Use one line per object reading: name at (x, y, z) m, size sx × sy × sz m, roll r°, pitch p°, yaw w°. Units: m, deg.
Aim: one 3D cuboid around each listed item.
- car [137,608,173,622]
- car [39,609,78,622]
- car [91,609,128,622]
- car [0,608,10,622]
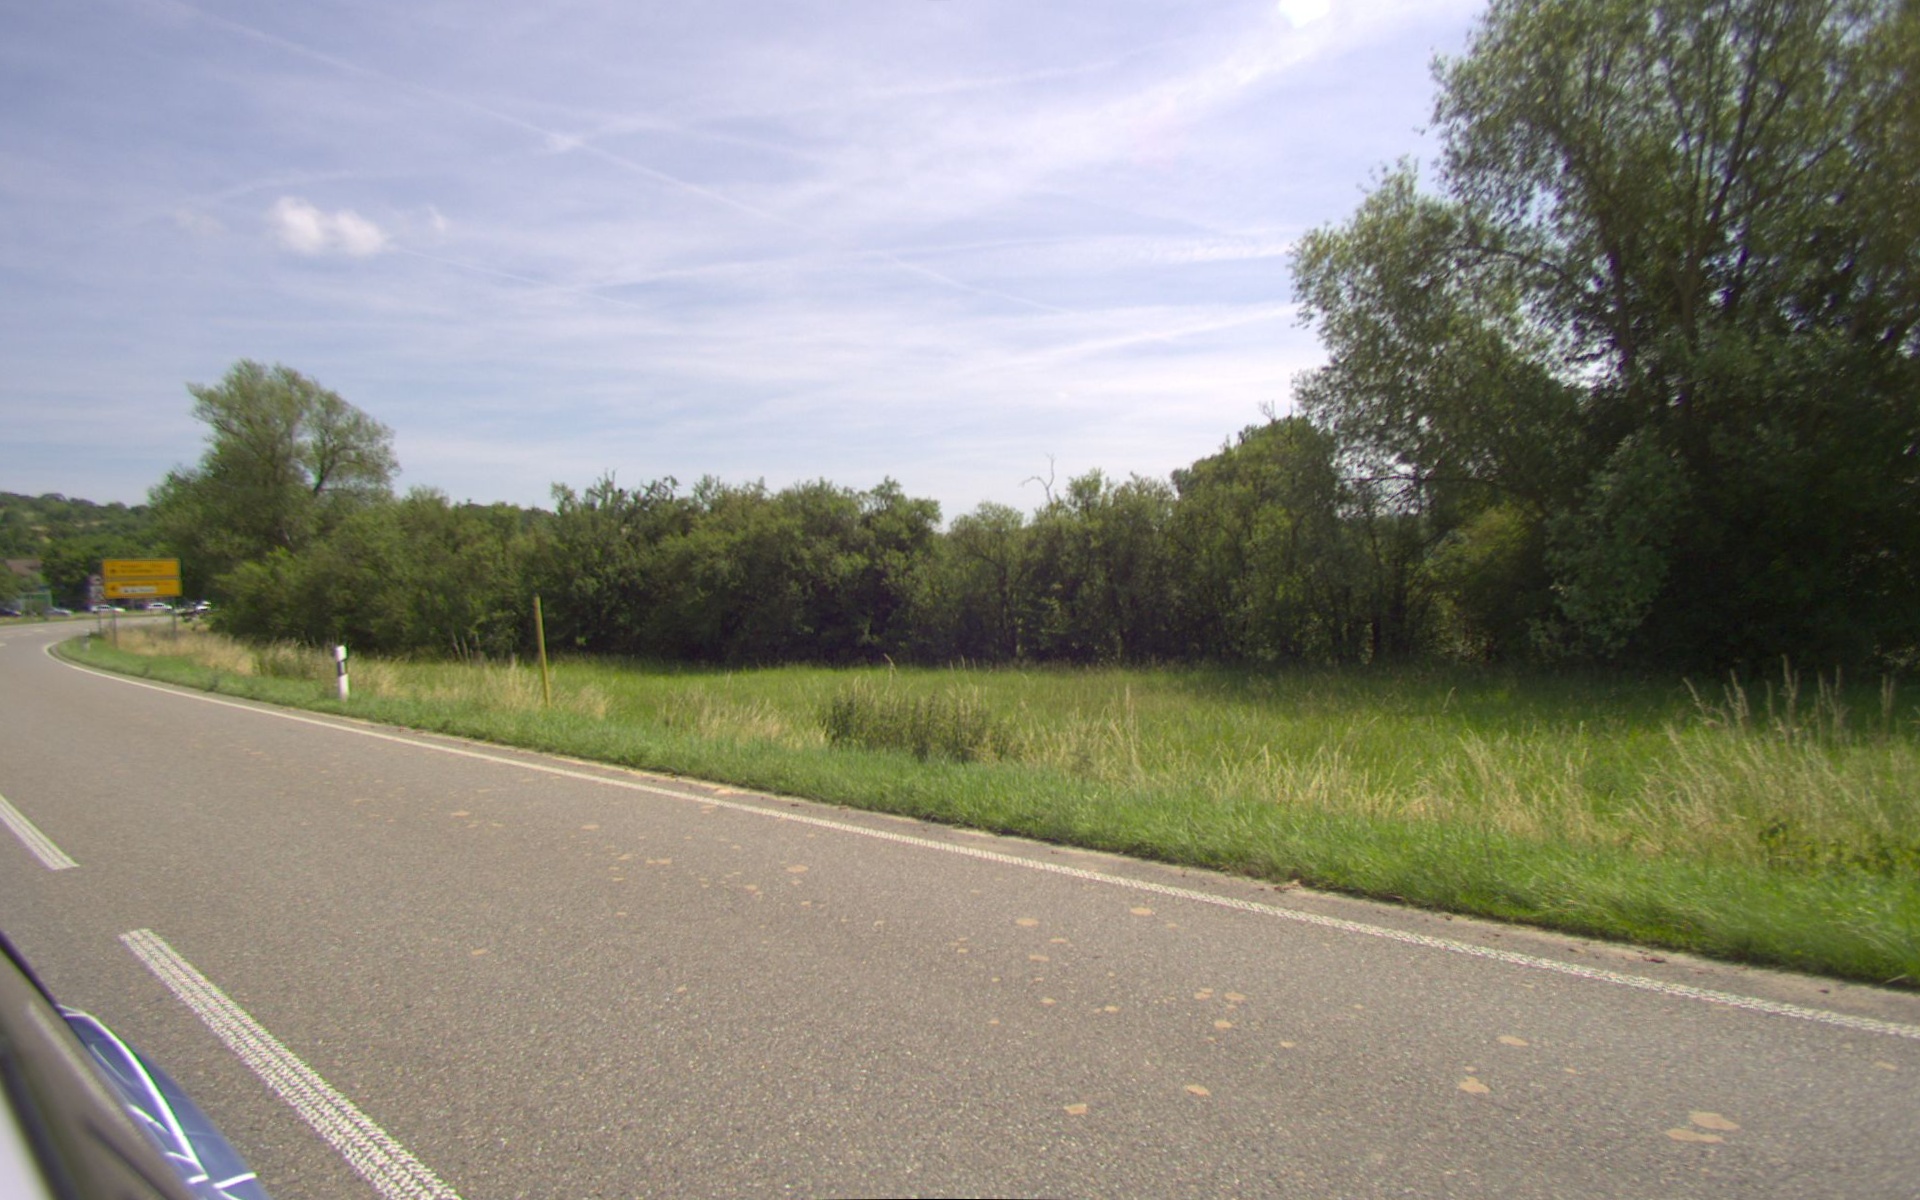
car at (-123.767, 2.308, 155.656) m, size 3.931 × 2.029 × 1.894 m, roll 0°, pitch -1°, yaw -20°
car at (-134.922, 2.318, 151.509) m, size 3.930 × 2.029 × 1.894 m, roll 0°, pitch -1°, yaw -23°
car at (-129.103, 2.348, 153.654) m, size 3.931 × 2.029 × 1.894 m, roll 0°, pitch -1°, yaw -20°
car at (-141.809, 2.142, 148.154) m, size 3.938 × 2.029 × 1.890 m, roll 0°, pitch -1°, yaw -42°
